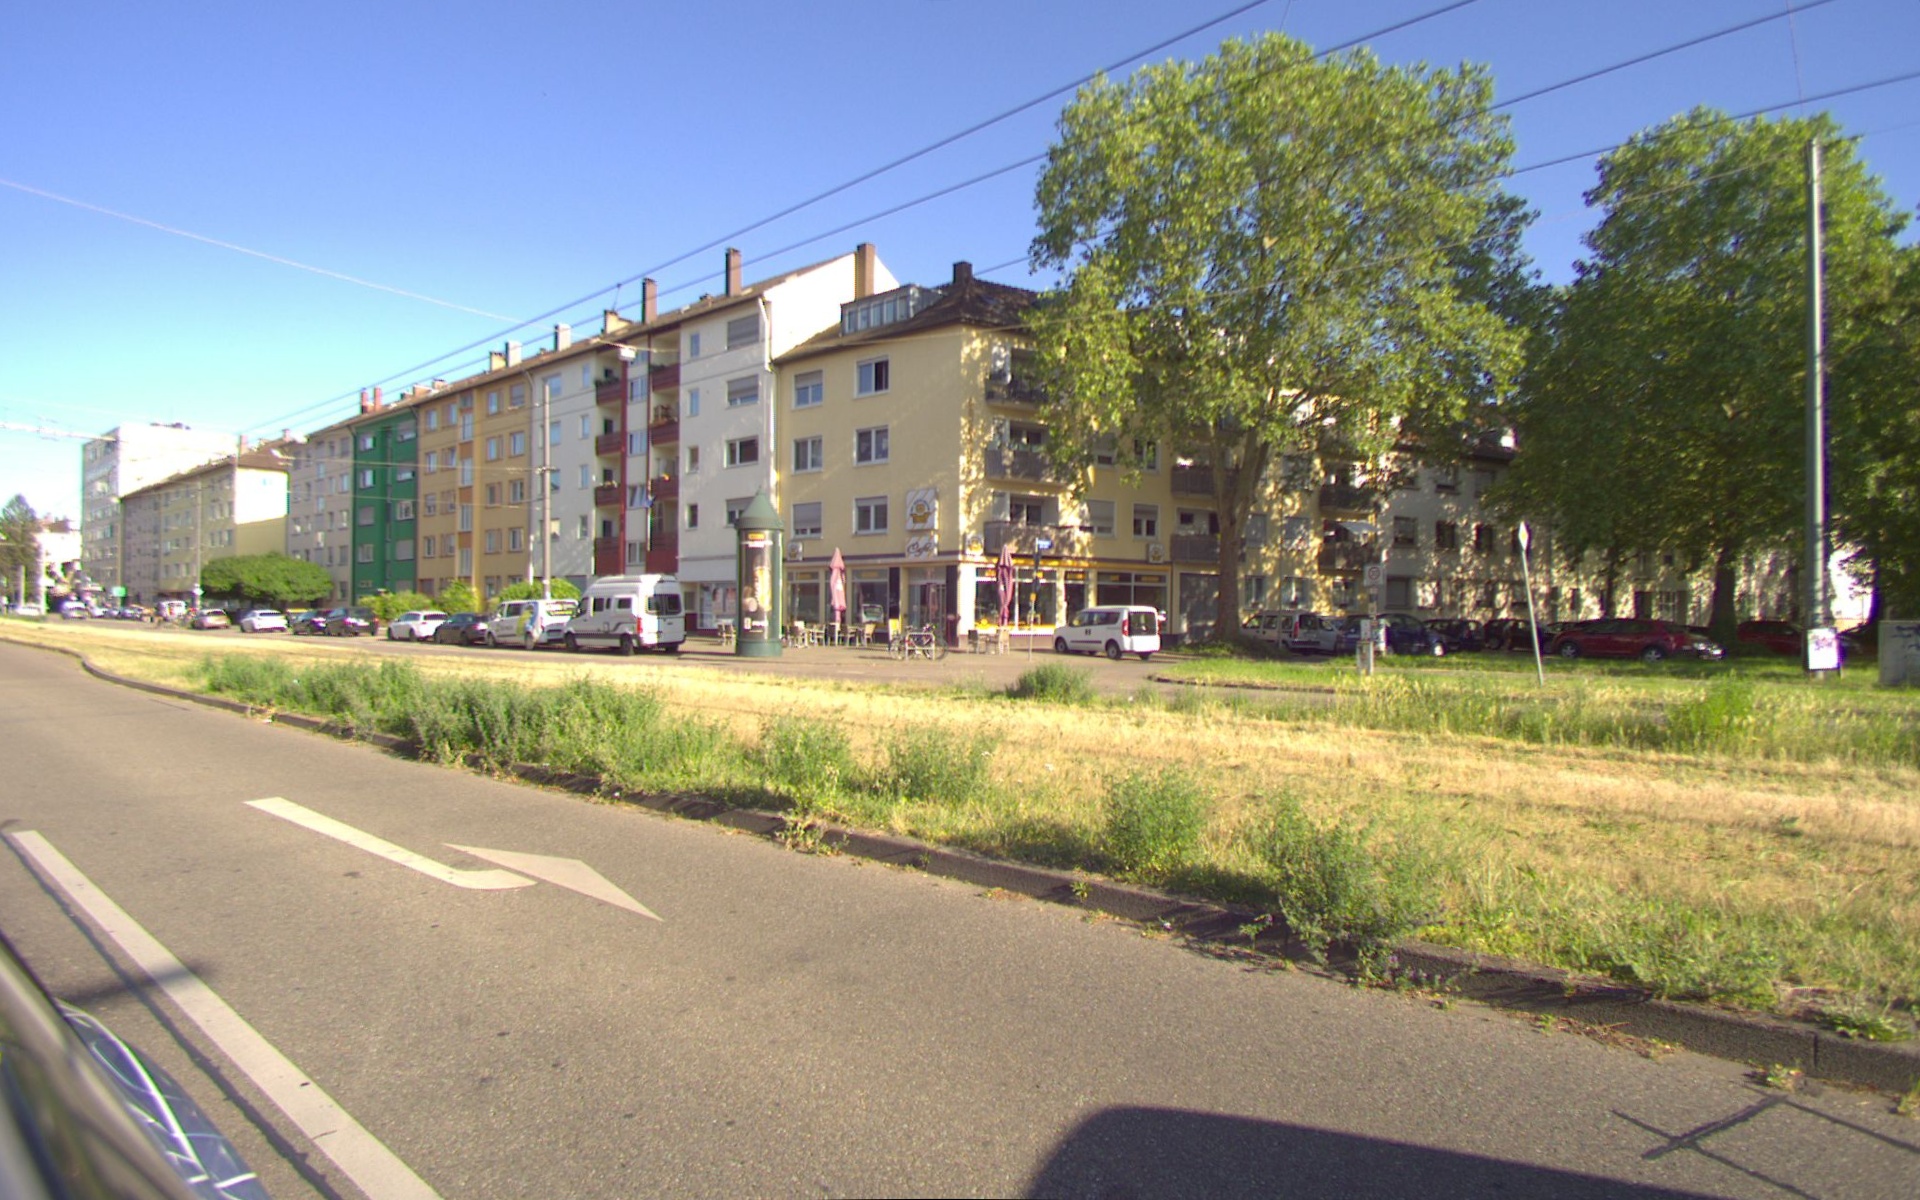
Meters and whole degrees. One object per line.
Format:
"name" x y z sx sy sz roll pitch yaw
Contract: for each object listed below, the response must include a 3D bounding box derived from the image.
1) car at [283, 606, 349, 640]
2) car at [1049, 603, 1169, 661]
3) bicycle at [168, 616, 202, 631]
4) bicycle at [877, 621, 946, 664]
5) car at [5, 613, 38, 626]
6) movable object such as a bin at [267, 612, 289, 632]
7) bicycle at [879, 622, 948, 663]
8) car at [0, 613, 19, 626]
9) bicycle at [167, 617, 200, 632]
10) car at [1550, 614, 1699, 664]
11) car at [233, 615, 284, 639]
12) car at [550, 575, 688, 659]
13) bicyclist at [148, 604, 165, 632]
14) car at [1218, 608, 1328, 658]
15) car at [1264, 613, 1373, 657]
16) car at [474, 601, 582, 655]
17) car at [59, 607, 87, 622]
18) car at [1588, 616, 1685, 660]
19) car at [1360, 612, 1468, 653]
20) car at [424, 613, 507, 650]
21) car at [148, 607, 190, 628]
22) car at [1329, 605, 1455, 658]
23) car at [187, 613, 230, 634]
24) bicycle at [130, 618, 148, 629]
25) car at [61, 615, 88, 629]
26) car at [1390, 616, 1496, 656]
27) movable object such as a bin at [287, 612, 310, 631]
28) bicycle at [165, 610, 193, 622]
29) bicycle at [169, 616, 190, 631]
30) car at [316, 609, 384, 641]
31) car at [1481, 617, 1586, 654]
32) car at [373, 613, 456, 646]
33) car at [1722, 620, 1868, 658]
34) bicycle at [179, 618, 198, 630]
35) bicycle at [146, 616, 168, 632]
"car" -37.470 1.309 58.878 4.606 1.851 1.973 0 1 41
"car" 5.247 1.083 35.966 1.967 1.840 4.010 -2 1 -35
"bicycle" -61.241 1.860 79.975 2.024 1.101 0.616 -2 1 -44
"bicycle" -1.478 1.279 30.879 2.065 1.261 0.518 0 1 7
"car" -105.495 2.156 113.714 4.404 1.395 1.818 -1 -2 35
"movable object such as a bin" -49.700 1.610 73.770 1.039 1.378 1.134 0 2 43
"bicycle" -1.440 1.306 31.434 2.065 1.193 0.518 1 1 7
"car" -111.719 2.288 118.153 4.405 1.540 1.767 -1 -2 36
"bicycle" -62.792 1.948 81.847 2.024 1.101 0.616 -2 1 -44
"car" 21.337 1.205 32.604 1.618 1.391 3.659 -2 1 -32
"car" -45.530 1.722 65.676 4.373 1.465 1.711 0 0 41
"car" -12.719 0.596 37.460 6.226 2.890 2.011 0 0 42
"bicyclist" -58.753 1.307 74.001 0.648 2.029 0.765 -1 1 41
"car" 12.748 1.315 41.422 1.966 1.857 4.012 3 -1 -29
"car" 15.223 1.461 43.163 1.966 1.677 4.074 2 -1 -29
"car" -17.943 1.084 41.892 5.368 2.036 2.011 0 1 42
"car" -118.732 1.985 135.428 4.664 1.912 1.974 0 1 39
"car" 27.539 1.516 41.160 3.932 1.697 1.755 1 -2 -31
"car" 19.944 1.412 44.606 1.850 1.626 4.012 3 -1 -29
"car" -22.312 1.385 45.622 4.320 1.526 1.678 0 0 38
"car" -78.644 1.714 100.625 5.492 1.964 1.975 -1 1 38
"car" 13.913 0.991 32.563 3.932 1.613 1.755 1 -2 -31
"car" -55.150 1.686 74.235 3.729 1.453 1.620 0 1 39
"bicycle" -67.348 1.906 83.049 2.068 0.886 0.760 0 -3 41
"car" -96.891 2.370 110.766 4.215 1.459 1.676 -1 -2 42
"car" 22.054 1.607 46.310 1.850 1.626 4.012 3 -1 -29
"movable object such as a bin" -48.838 1.570 74.719 1.039 1.378 1.134 0 2 43
"bicycle" -76.025 1.574 98.546 0.472 1.114 2.076 -1 1 40
"bicycle" -60.018 1.785 77.798 1.927 1.101 0.506 -1 1 29
"car" -33.593 1.365 55.701 4.148 1.619 1.973 0 1 41
"car" 28.548 1.735 50.494 1.966 1.677 4.074 2 -1 -29
"car" -26.592 1.396 49.283 4.698 1.503 1.874 -1 1 39
"car" 31.907 1.468 38.762 1.559 1.392 4.011 1 -2 -33
"bicycle" -59.777 1.879 78.377 2.046 0.872 0.374 -1 1 29
"bicycle" -58.632 1.757 73.917 2.473 1.155 0.760 0 -3 41
